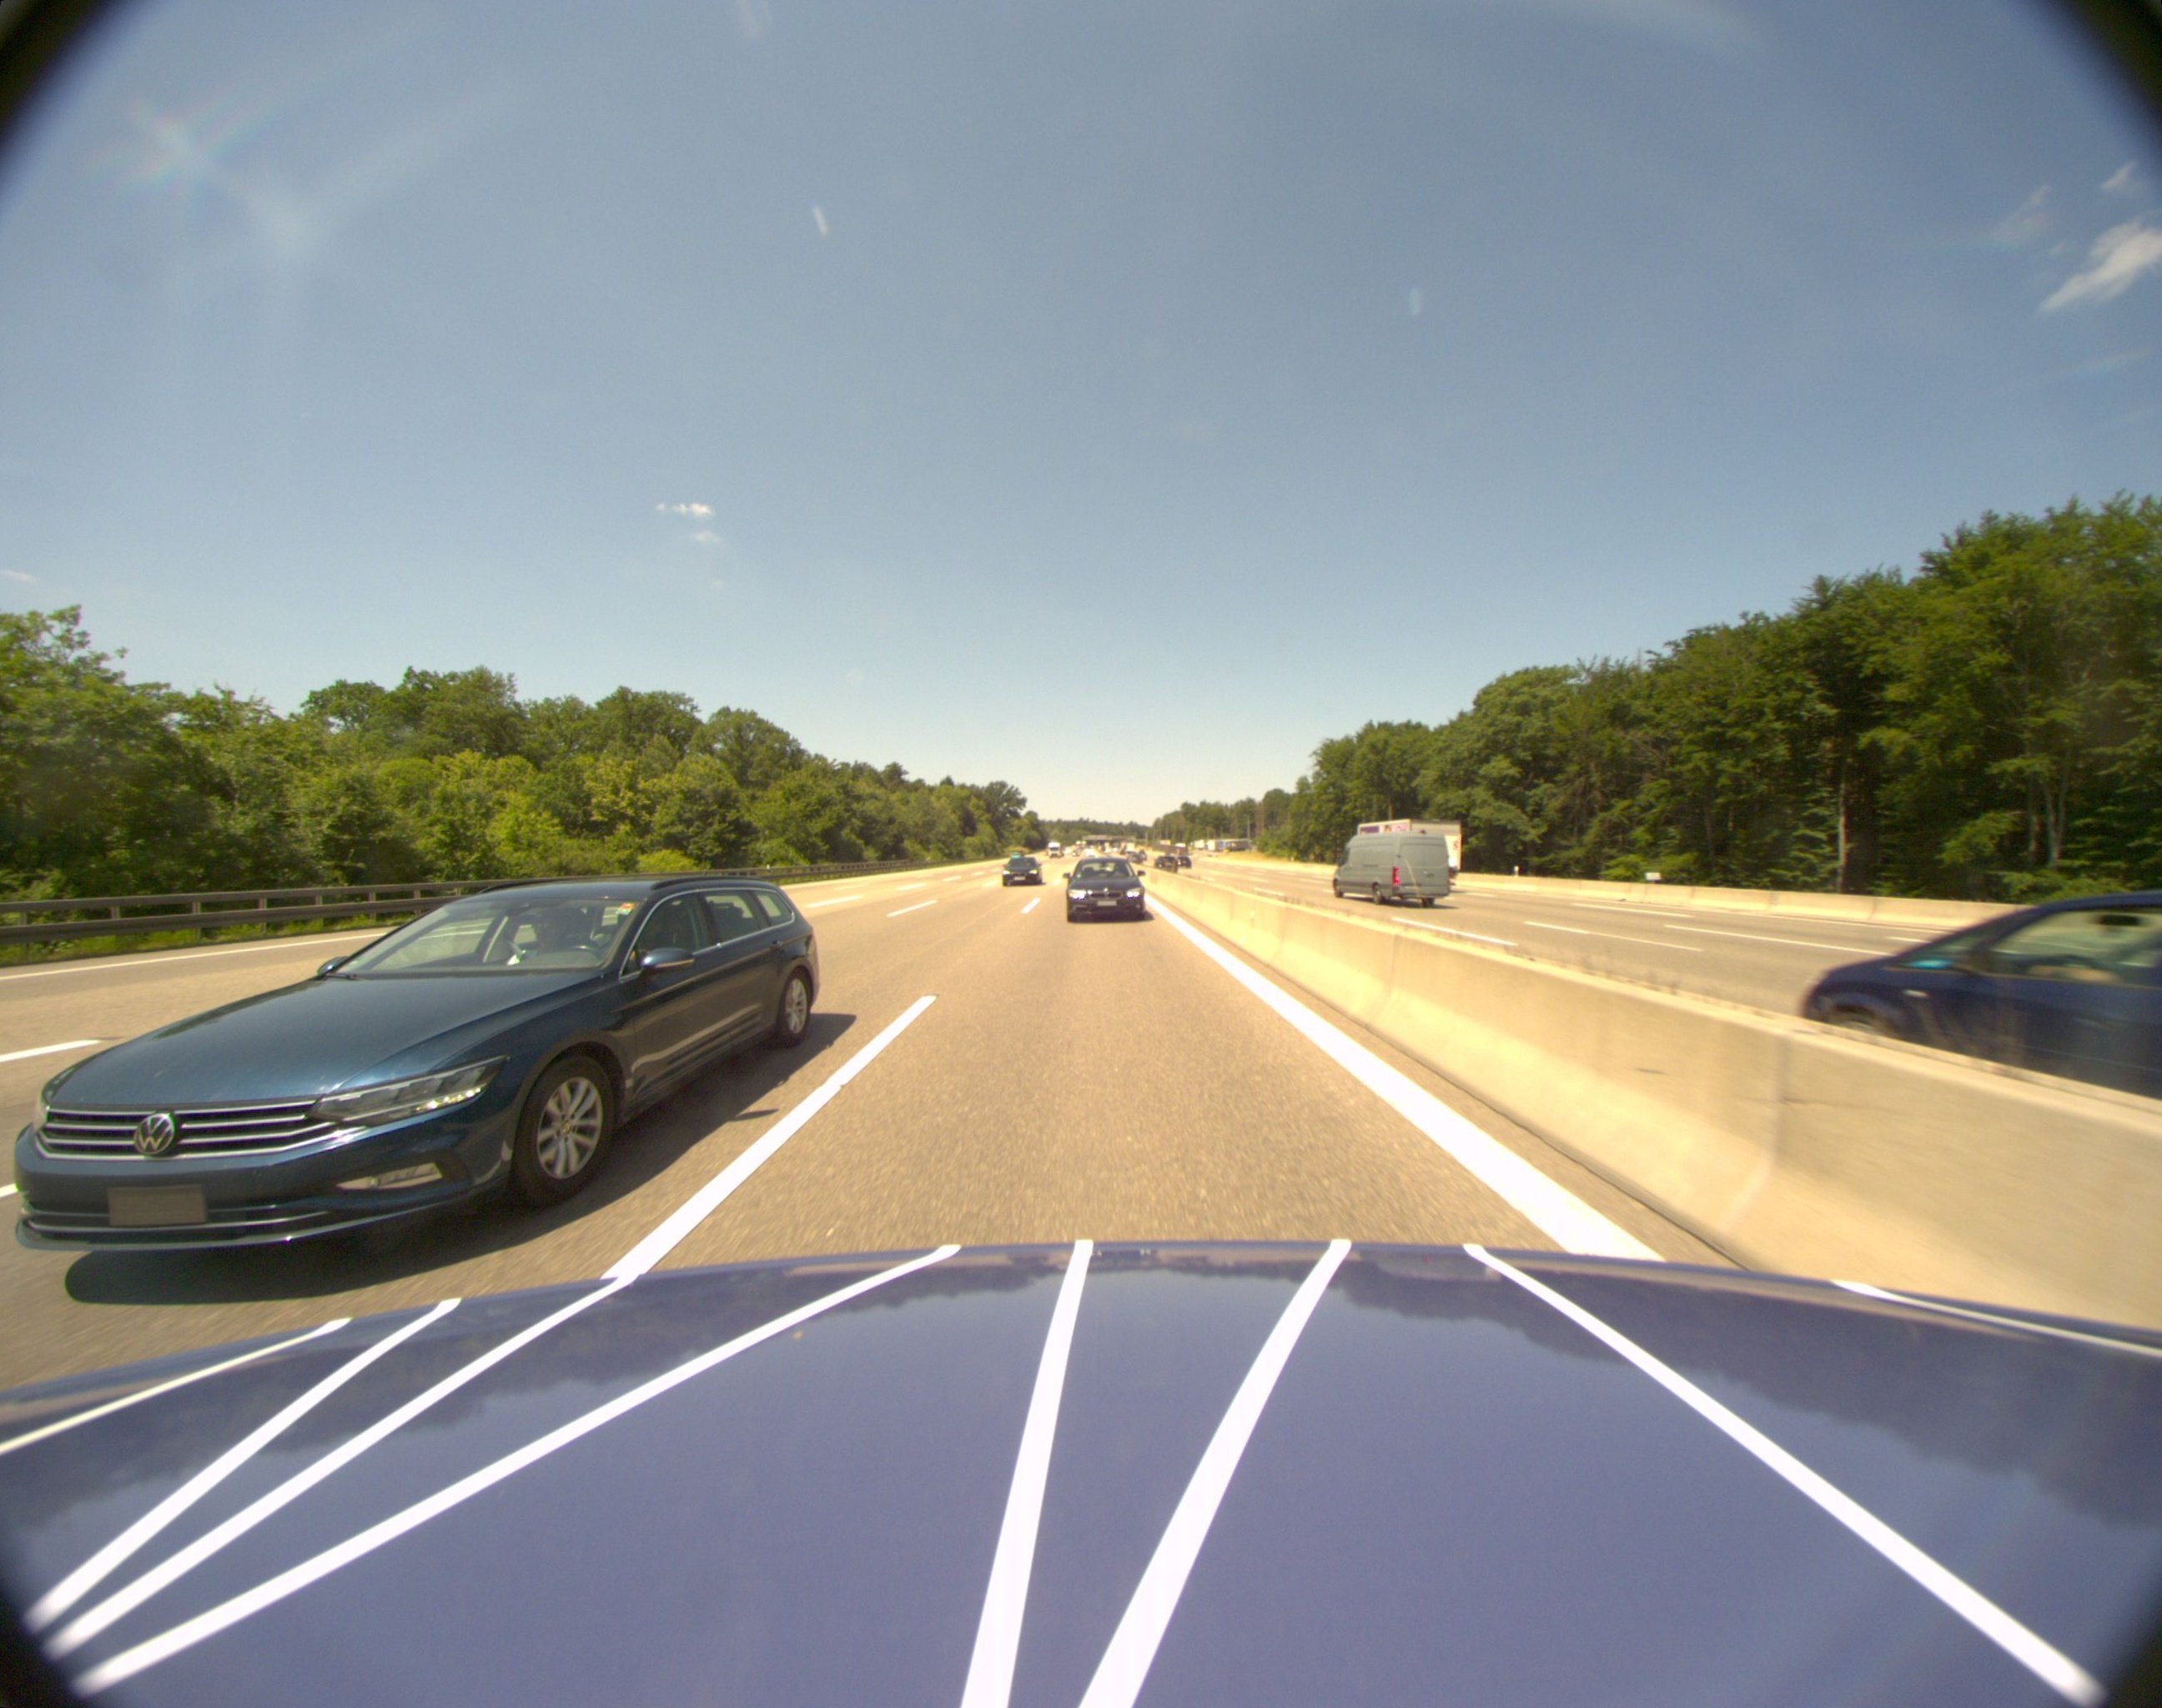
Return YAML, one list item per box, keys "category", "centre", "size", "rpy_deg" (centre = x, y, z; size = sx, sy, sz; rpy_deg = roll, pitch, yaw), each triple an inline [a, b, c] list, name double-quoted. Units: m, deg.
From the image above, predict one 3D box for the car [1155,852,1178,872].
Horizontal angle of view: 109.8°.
- category: "car"
  centre: [7.277, 0.669, 64.882]
  size: [1.618, 1.652, 3.849]
  rpy_deg: [0, 1, 1]

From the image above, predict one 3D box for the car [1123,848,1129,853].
- category: "car"
  centre: [13.557, -1.046, 229.417]
  size: [1.706, 1.419, 4.613]
  rpy_deg: [1, 1, 1]

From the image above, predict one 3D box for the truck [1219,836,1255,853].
- category: "truck"
  centre: [53.697, -3.246, 261.307]
  size: [16.745, 5.581, 3.214]
  rpy_deg: [-1, 2, -44]

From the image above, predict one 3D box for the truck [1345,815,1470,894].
- category: "truck"
  centre: [18.129, -0.085, 43.203]
  size: [2.726, 3.917, 10.234]
  rpy_deg: [1, 1, 1]

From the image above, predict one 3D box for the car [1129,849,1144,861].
- category: "car"
  centre: [7.071, 0.108, 97.268]
  size: [1.756, 1.369, 4.491]
  rpy_deg: [1, 0, 1]

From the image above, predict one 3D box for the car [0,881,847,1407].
- category: "car"
  centre: [-3.200, 1.007, 4.881]
  size: [1.734, 1.439, 4.961]
  rpy_deg: [0, 1, 1]

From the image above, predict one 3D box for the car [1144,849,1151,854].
- category: "car"
  centre: [21.958, -0.929, 251.532]
  size: [2.052, 1.665, 5.188]
  rpy_deg: [1, 1, 1]

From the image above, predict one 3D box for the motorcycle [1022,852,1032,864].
- category: "motorcycle"
  centre: [-6.429, 0.450, 90.049]
  size: [0.925, 1.311, 2.997]
  rpy_deg: [0, 1, 1]

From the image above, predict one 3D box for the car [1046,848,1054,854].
- category: "car"
  centre: [-8.369, -0.767, 207.491]
  size: [1.874, 1.560, 4.127]
  rpy_deg: [0, 0, 2]

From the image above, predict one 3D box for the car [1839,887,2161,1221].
- category: "car"
  centre: [6.468, 1.082, 3.755]
  size: [1.709, 1.652, 3.759]
  rpy_deg: [0, 0, 1]

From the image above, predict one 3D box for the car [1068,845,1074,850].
- category: "car"
  centre: [-3.032, -2.063, 231.843]
  size: [1.874, 1.560, 4.127]
  rpy_deg: [0, 0, 2]

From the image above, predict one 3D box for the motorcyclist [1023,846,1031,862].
- category: "motorcyclist"
  centre: [-6.401, -0.035, 89.971]
  size: [0.914, 1.926, 0.905]
  rpy_deg: [1, 1, 0]

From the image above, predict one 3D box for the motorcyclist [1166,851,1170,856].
- category: "motorcyclist"
  centre: [20.778, -0.128, 181.308]
  size: [0.771, 1.294, 1.077]
  rpy_deg: [1, 1, 1]

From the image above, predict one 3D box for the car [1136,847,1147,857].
- category: "car"
  centre: [11.672, -0.365, 146.144]
  size: [1.975, 1.714, 4.510]
  rpy_deg: [4, 0, 4]

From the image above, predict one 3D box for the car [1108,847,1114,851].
- category: "car"
  centre: [10.354, -1.796, 260.705]
  size: [1.829, 1.386, 4.464]
  rpy_deg: [0, 1, -1]

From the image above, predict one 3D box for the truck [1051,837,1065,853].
- category: "truck"
  centre: [-4.942, -2.018, 165.599]
  size: [2.428, 3.237, 8.689]
  rpy_deg: [1, 1, 2]

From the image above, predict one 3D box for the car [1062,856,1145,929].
- category: "car"
  centre: [0.547, 0.823, 18.507]
  size: [1.741, 1.450, 4.542]
  rpy_deg: [-2, 1, 2]

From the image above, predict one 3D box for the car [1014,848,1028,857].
- category: "car"
  centre: [-11.495, -0.345, 145.808]
  size: [1.998, 1.671, 4.127]
  rpy_deg: [1, 1, 2]

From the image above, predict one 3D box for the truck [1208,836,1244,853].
- category: "truck"
  centre: [50.276, -3.325, 263.000]
  size: [16.745, 5.581, 3.440]
  rpy_deg: [-1, 2, -44]

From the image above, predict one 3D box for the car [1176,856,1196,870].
- category: "car"
  centre: [12.208, 1.027, 88.567]
  size: [1.722, 1.441, 4.908]
  rpy_deg: [1, 0, 0]

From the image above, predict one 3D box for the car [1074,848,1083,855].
- category: "car"
  centre: [-0.509, -0.694, 187.252]
  size: [1.998, 1.671, 4.127]
  rpy_deg: [1, 1, 2]

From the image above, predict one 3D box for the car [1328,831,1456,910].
- category: "car"
  centre: [11.475, 0.539, 28.788]
  size: [1.935, 2.592, 7.230]
  rpy_deg: [1, 0, 1]

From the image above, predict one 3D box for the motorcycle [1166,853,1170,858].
- category: "motorcycle"
  centre: [20.781, 0.330, 181.329]
  size: [0.779, 1.135, 2.756]
  rpy_deg: [1, 1, 1]

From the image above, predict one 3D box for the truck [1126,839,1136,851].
- category: "truck"
  centre: [17.065, -3.133, 257.760]
  size: [2.865, 3.990, 9.466]
  rpy_deg: [0, 1, 1]

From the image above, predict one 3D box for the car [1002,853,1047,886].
- category: "car"
  centre: [-2.776, 0.730, 38.124]
  size: [1.834, 1.454, 4.203]
  rpy_deg: [1, 1, 1]
